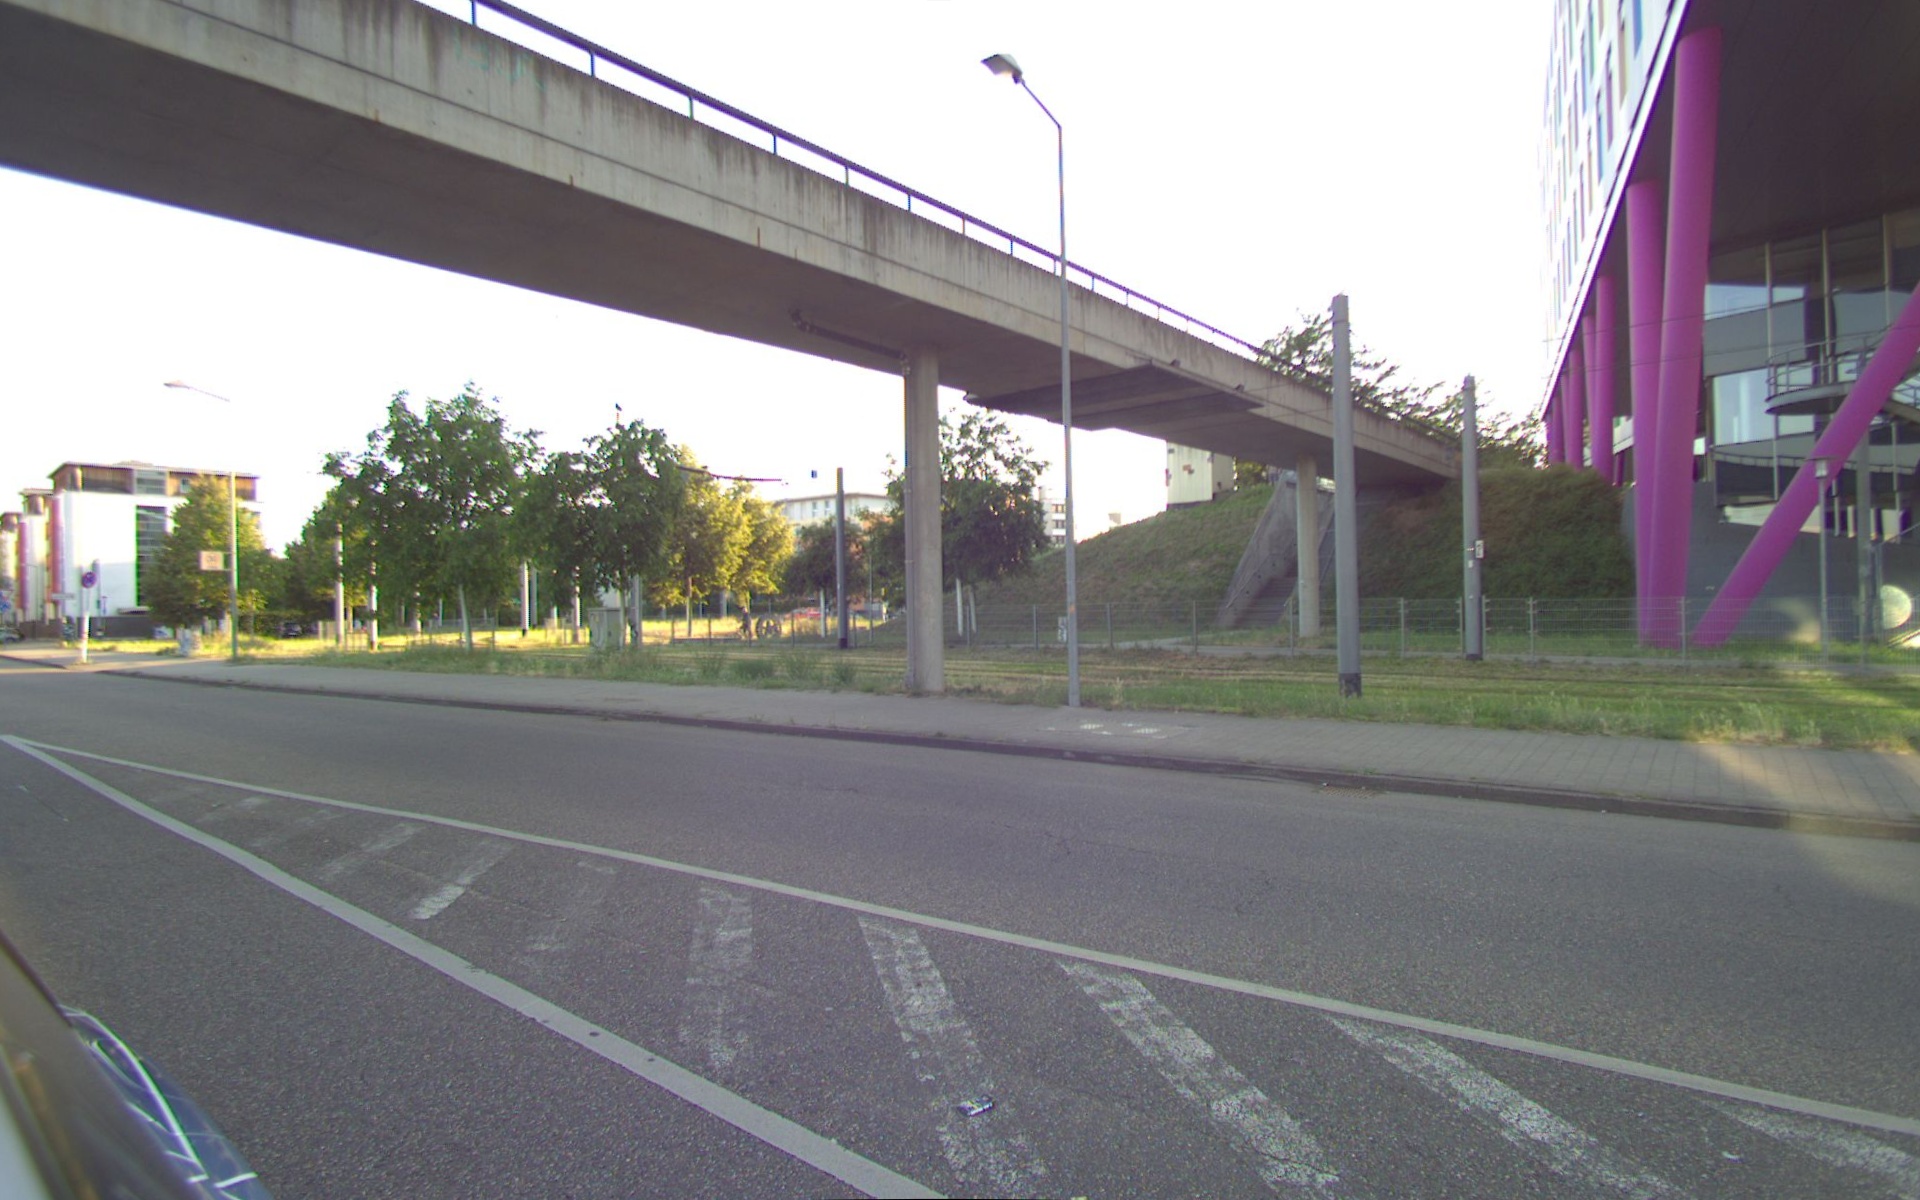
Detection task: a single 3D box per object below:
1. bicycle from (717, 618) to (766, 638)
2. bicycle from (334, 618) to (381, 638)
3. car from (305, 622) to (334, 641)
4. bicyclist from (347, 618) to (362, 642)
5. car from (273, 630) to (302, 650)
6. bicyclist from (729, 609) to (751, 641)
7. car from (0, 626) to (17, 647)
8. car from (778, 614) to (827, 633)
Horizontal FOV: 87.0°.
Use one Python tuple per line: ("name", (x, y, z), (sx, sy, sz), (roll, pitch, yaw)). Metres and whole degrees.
("bicycle", (-11.496, 1.463, 53.406), (0.654, 1.016, 2.808), (-2, -1, 37))
("bicycle", (-49.237, 2.291, 82.757), (3.266, 1.503, 0.890), (-1, -1, -35))
("car", (-55.170, 2.724, 87.156), (1.913, 1.541, 4.009), (-1, -1, -36))
("bicyclist", (-49.456, 2.437, 82.632), (1.017, 1.890, 0.886), (1, -2, -31))
("car", (-56.925, 3.361, 85.618), (1.913, 1.541, 4.009), (-1, -1, -36))
("bicyclist", (-11.638, 1.322, 53.490), (0.716, 1.644, 0.899), (-2, -1, 35))
("car", (-80.501, 3.045, 83.425), (2.000, 1.741, 3.944), (-2, -1, 42))
("car", (-17.929, 2.647, 115.298), (5.445, 2.029, 2.001), (0, -1, -45))
